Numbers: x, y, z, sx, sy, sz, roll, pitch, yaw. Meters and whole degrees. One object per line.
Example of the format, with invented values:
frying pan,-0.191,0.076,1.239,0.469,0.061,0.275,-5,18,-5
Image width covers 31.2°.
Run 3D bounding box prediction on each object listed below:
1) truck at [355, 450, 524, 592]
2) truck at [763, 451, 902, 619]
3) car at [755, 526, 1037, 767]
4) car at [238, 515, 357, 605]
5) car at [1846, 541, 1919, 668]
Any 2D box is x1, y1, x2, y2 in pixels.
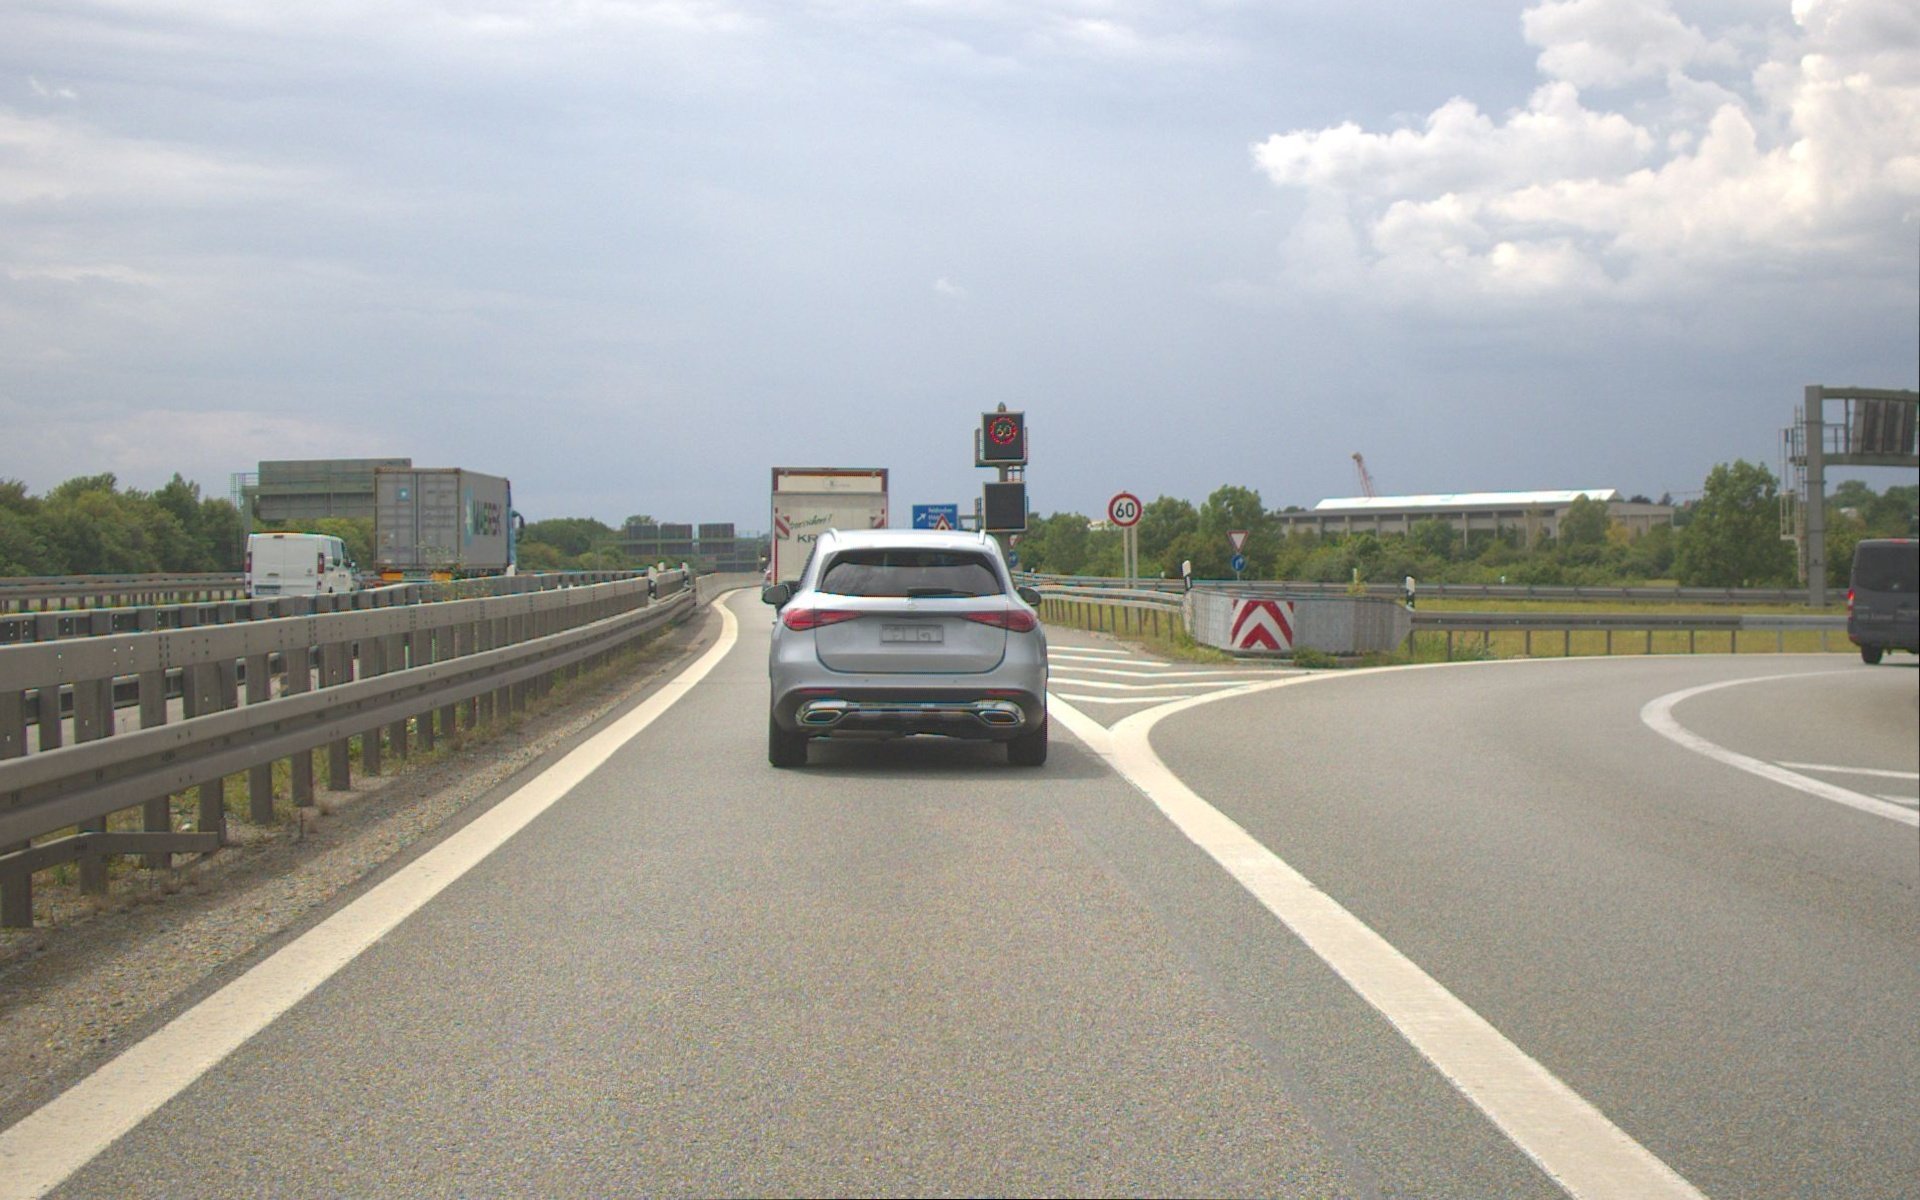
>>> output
truck,-15.746,-2.494,105.308,3.183,4.005,16.077,1,2,-2
truck,-2.489,-1.252,68.563,2.569,3.115,8.635,1,1,-2
car,-0.436,0.259,24.308,1.819,1.509,4.001,1,2,-1
car,-15.562,-0.963,80.958,1.993,2.006,4.375,1,2,-1
car,18.150,0.046,64.451,1.909,2.254,4.642,1,2,28
